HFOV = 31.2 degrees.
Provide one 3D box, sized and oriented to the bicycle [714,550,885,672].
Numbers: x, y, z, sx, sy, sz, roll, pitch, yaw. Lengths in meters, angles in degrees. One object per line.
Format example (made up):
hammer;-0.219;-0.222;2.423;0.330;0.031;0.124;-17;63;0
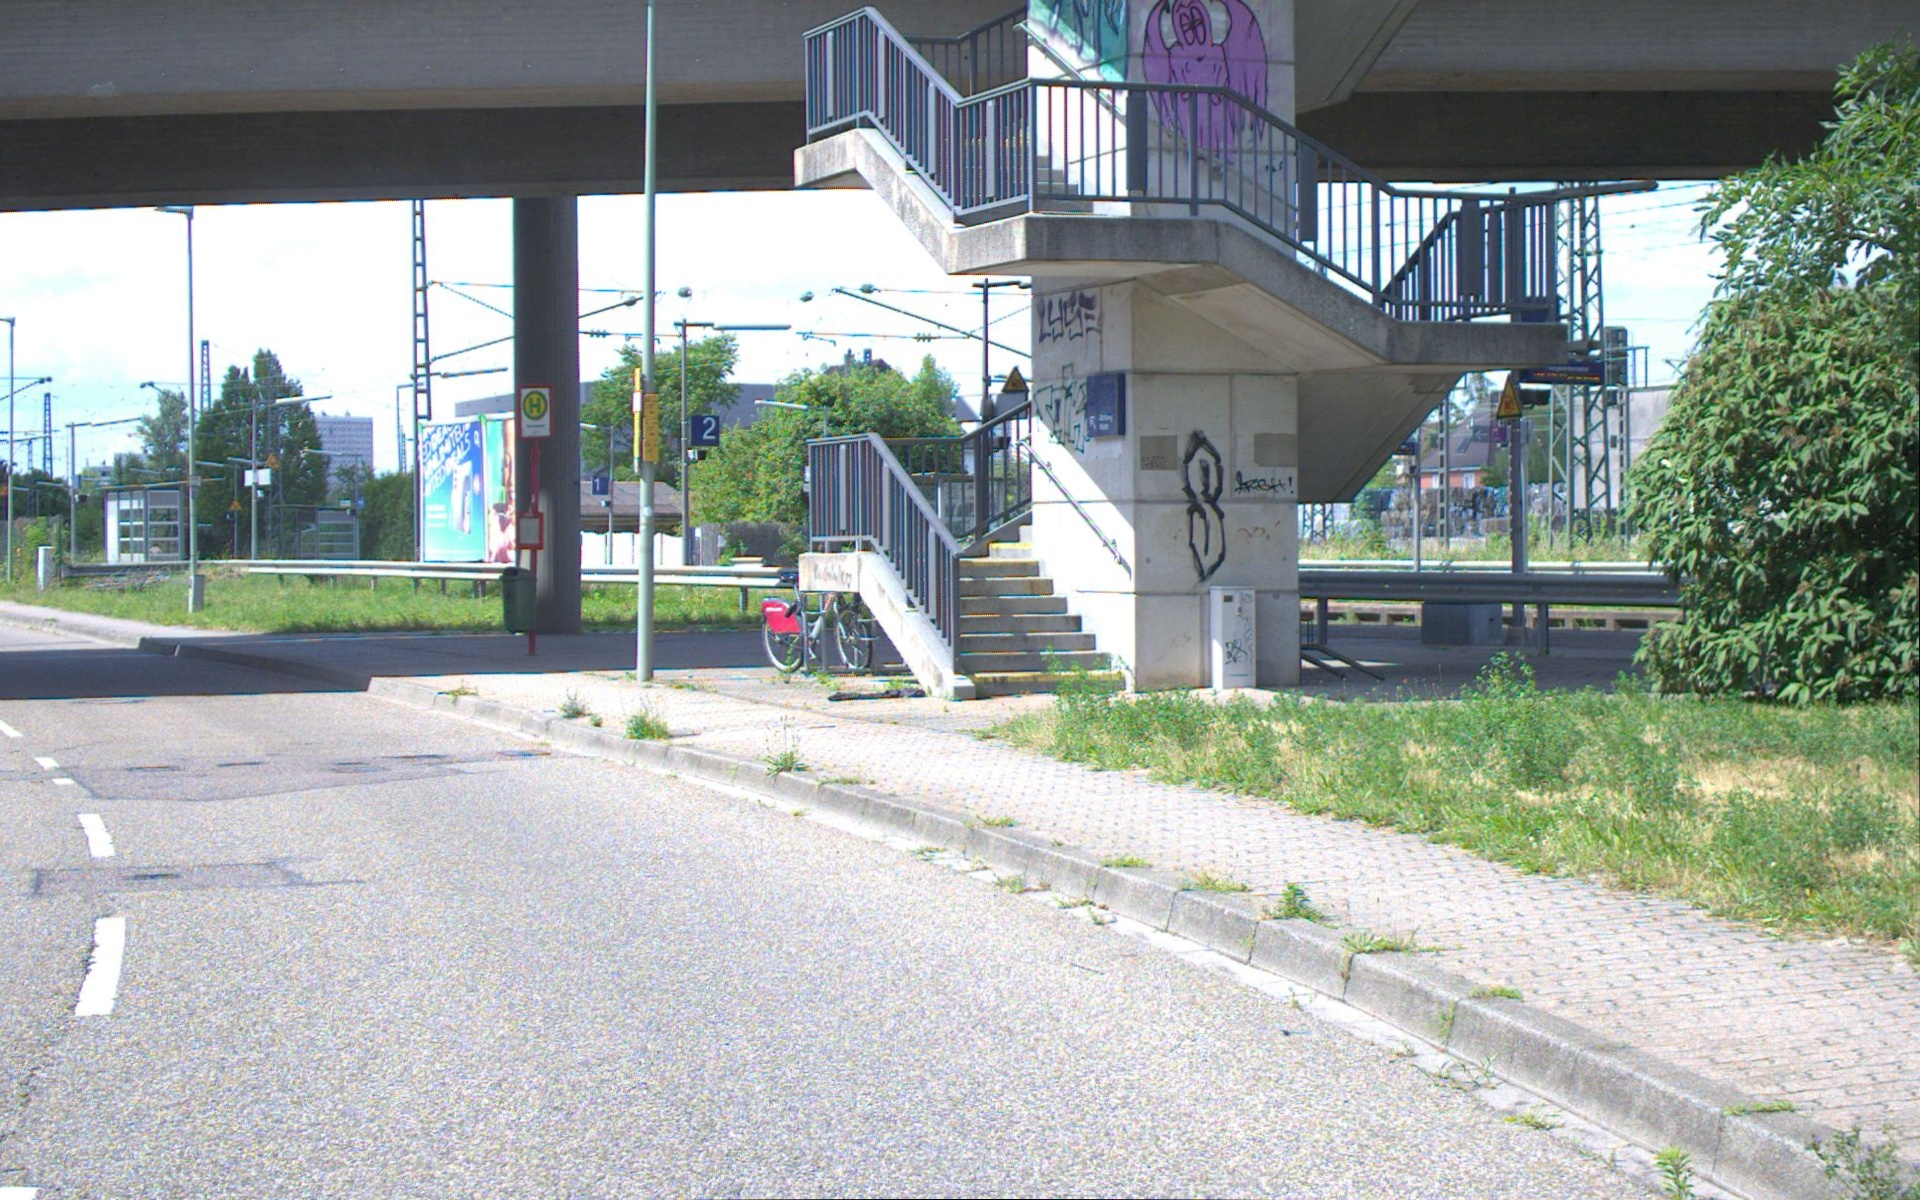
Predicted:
bicycle;-1.544;0.089;32.669;0.643;1.104;2.191;-2;2;-31
